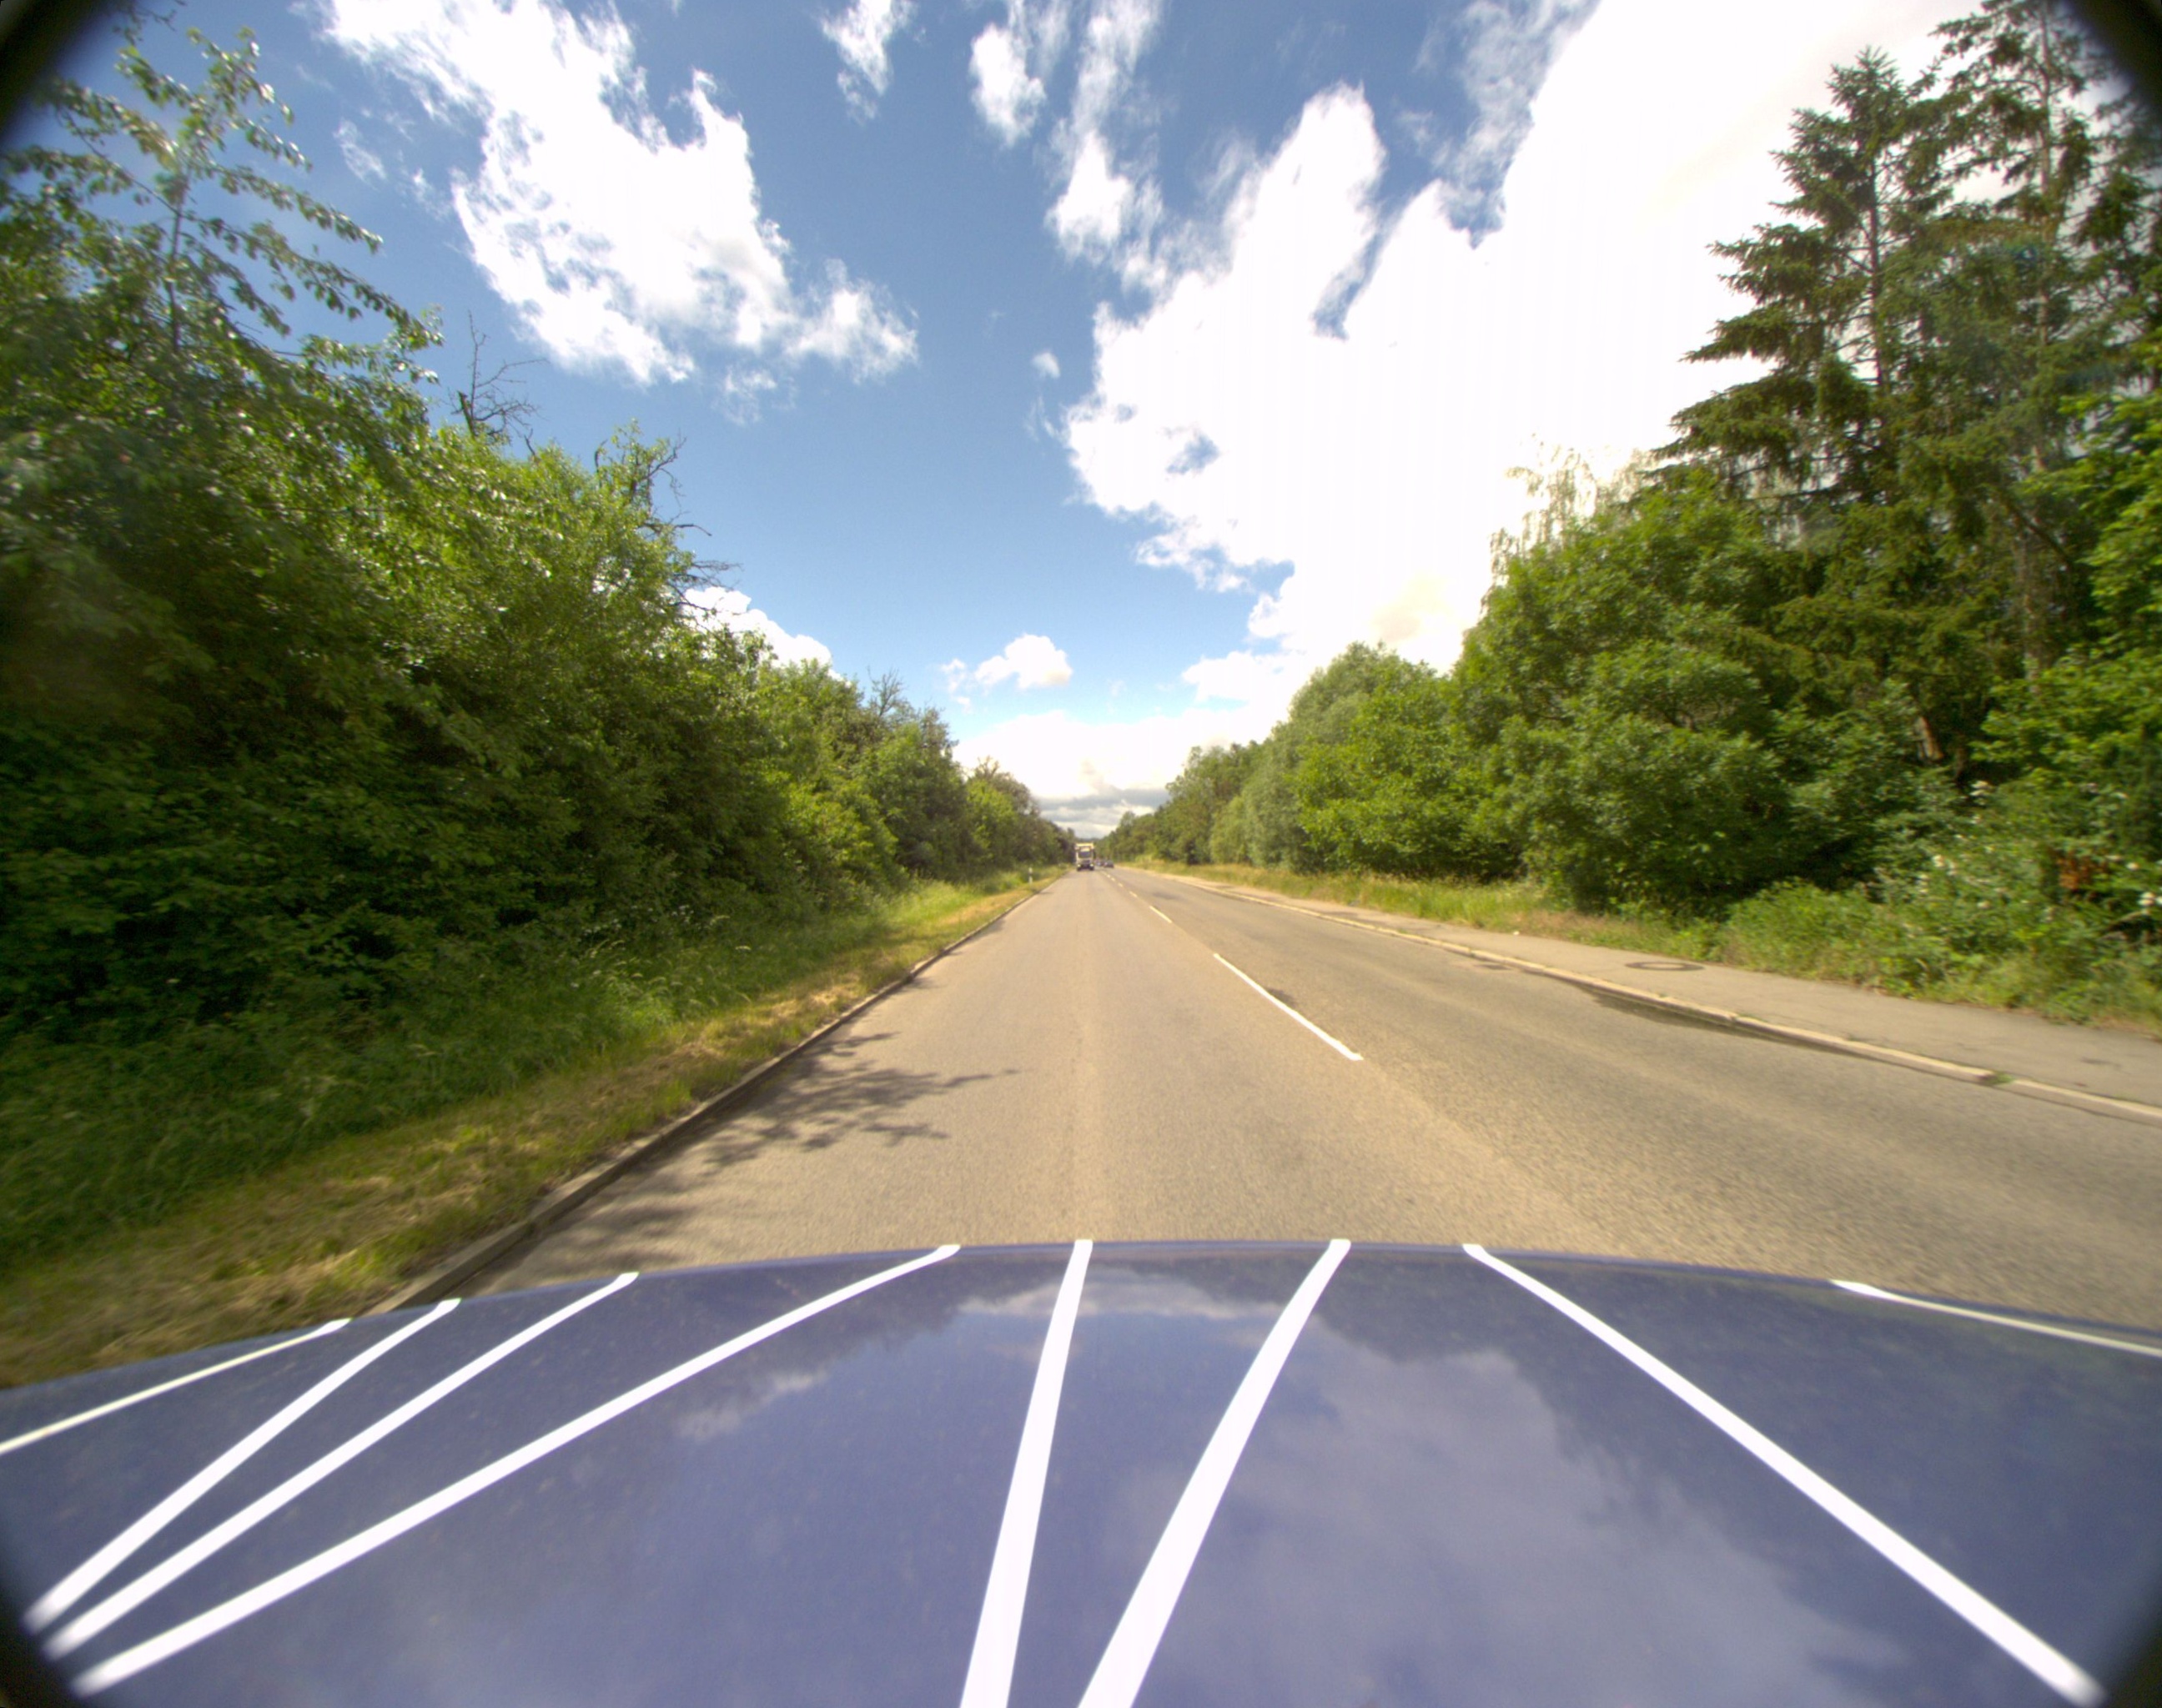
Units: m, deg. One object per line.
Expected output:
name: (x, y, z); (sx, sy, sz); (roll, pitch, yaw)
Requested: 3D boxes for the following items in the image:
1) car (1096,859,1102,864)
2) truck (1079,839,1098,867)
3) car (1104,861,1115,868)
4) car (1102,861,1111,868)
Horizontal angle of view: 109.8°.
car: (5.334, 2.226, 227.332); (1.789, 1.438, 4.452); (1, -1, -1)
truck: (1.033, -0.083, 108.101); (2.306, 3.789, 8.184); (-3, -1, 0)
car: (5.503, 2.050, 145.643); (1.789, 1.326, 4.623); (1, -1, -1)
car: (6.124, 2.501, 180.605); (1.889, 1.483, 4.717); (1, -1, -1)
